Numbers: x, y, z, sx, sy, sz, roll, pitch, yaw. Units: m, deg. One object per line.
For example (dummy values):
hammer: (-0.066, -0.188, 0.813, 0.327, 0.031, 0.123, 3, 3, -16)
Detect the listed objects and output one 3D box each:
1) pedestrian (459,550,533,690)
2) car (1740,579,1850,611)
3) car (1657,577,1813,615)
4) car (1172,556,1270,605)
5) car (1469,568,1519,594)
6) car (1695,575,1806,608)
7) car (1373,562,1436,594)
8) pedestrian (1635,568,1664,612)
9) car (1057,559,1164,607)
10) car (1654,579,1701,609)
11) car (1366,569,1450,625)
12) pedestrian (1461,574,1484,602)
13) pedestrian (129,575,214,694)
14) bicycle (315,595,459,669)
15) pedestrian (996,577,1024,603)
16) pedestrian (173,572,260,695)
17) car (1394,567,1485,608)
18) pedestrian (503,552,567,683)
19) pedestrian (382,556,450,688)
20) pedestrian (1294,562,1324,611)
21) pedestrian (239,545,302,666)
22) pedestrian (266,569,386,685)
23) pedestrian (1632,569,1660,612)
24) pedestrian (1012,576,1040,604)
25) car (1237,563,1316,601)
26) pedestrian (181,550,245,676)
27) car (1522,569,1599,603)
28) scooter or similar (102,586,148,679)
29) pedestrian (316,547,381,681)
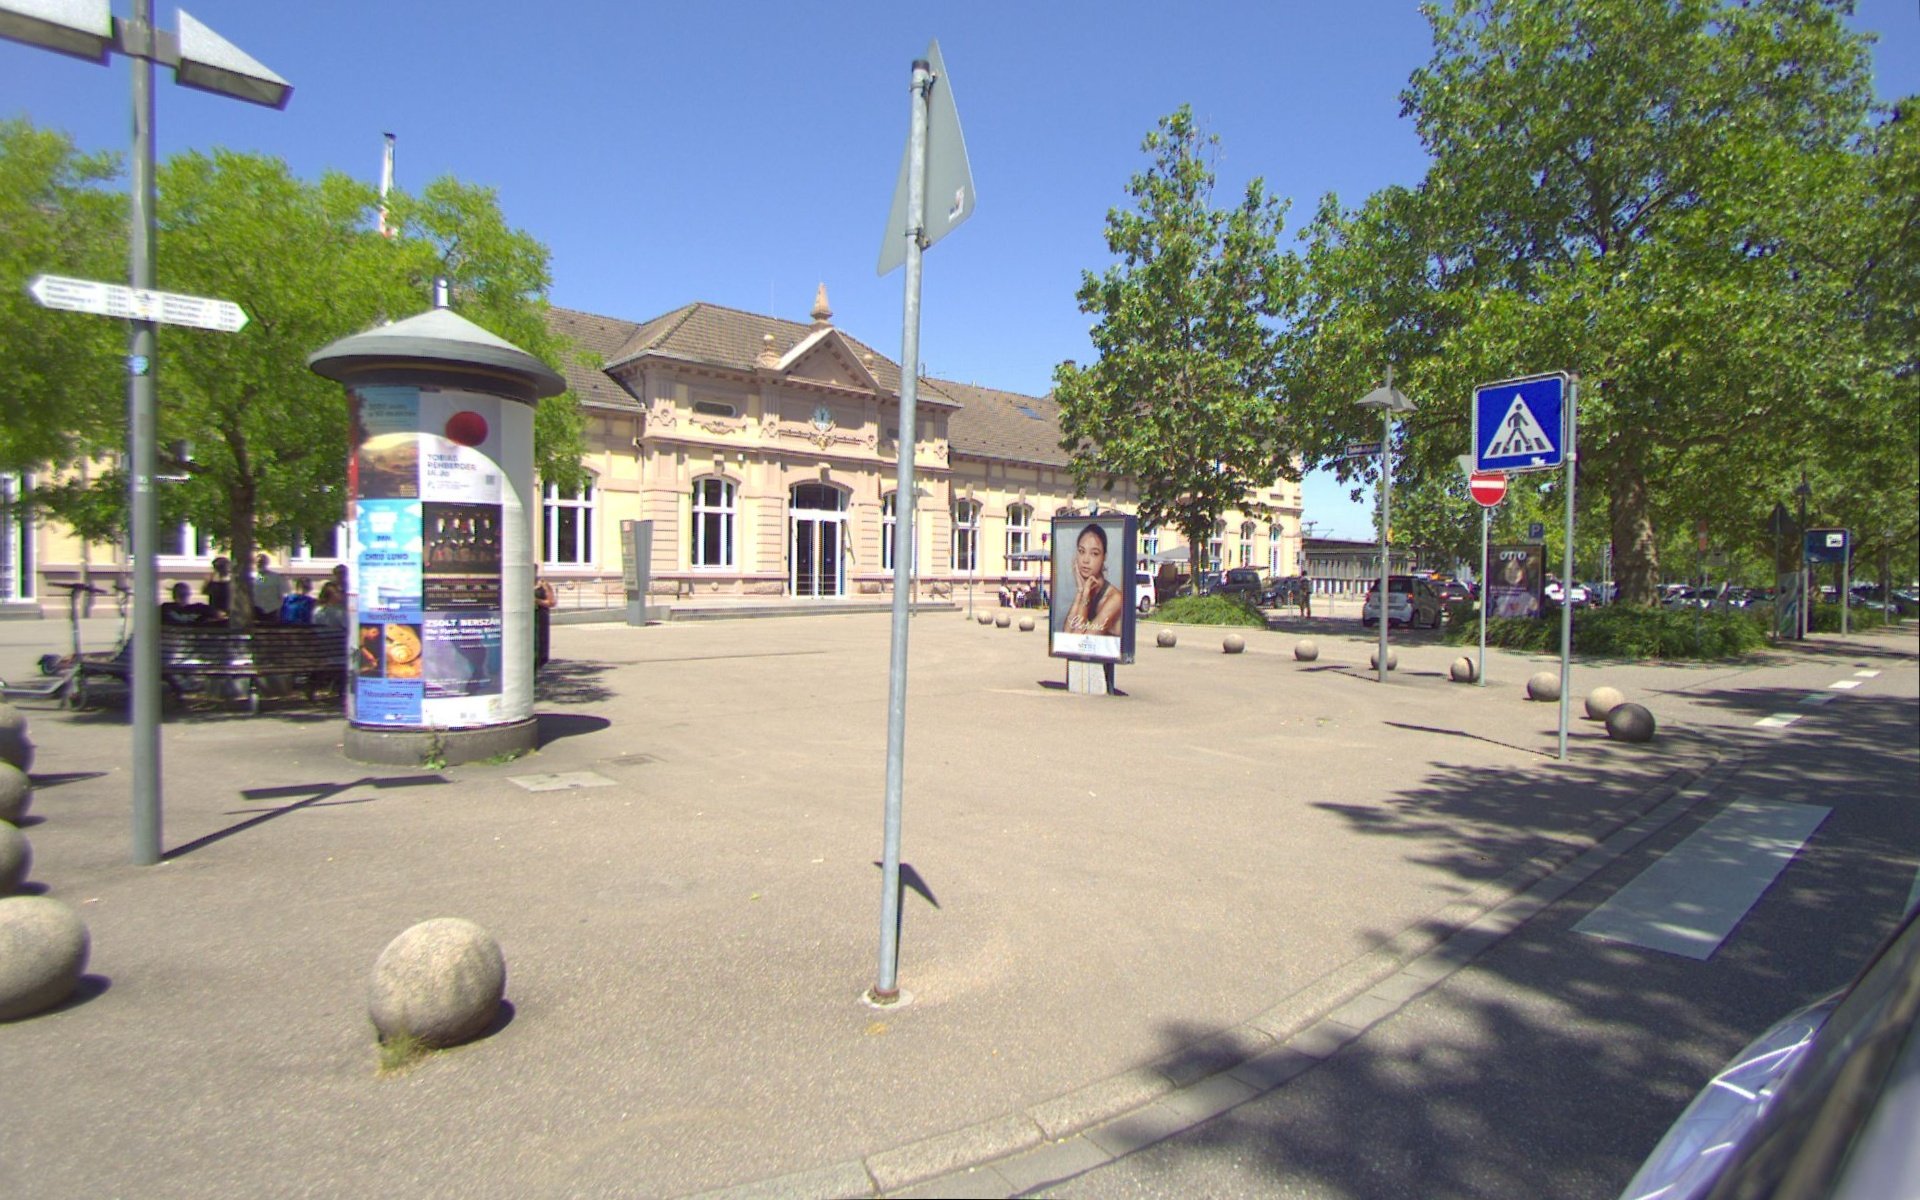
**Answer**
pedestrian: (-6.062, 0.242, 13.240, 0.685, 1.785, 0.581, 1, 1, 22)
car: (41.400, -0.268, 50.245, 3.827, 1.478, 1.626, 1, 1, 20)
car: (31.114, -0.190, 40.842, 4.735, 1.434, 1.769, 1, 2, 29)
car: (12.252, -0.866, 47.236, 2.085, 2.151, 5.737, 0, 0, 42)
car: (40.684, -1.454, 77.100, 4.175, 1.812, 1.996, -2, 0, -42)
car: (37.863, -0.437, 48.558, 3.827, 1.478, 1.626, 1, 1, 20)
car: (27.077, -1.324, 61.556, 1.996, 1.863, 5.238, -1, 0, 42)
pedestrian: (28.198, -0.425, 41.410, 0.831, 1.792, 0.844, 1, 1, 27)
car: (6.371, -0.683, 42.343, 1.810, 1.889, 5.056, 0, 0, 45)
car: (47.333, -0.447, 66.807, 1.720, 1.917, 3.968, 1, 1, 24)
car: (13.760, -0.138, 31.023, 1.594, 1.613, 3.062, 1, 2, 39)
pedestrian: (26.112, -0.614, 51.585, 0.786, 1.442, 0.691, 0, 1, 1)
pedestrian: (-9.523, 0.395, 12.233, 0.592, 1.381, 0.596, 1, 1, 19)
bicycle: (-8.946, 0.471, 15.868, 1.917, 1.073, 0.420, -1, 2, -45)
pedestrian: (2.239, -0.448, 45.133, 0.879, 1.093, 0.838, 4, 3, 43)
pedestrian: (-8.706, 0.373, 11.856, 0.592, 1.381, 0.596, 1, 1, 19)
car: (20.345, -0.569, 43.147, 1.767, 1.561, 4.531, -1, 3, 1)
pedestrian: (-5.846, 0.223, 13.925, 0.620, 1.761, 0.544, 1, 1, 22)
pedestrian: (-7.428, 0.280, 13.827, 0.578, 1.761, 0.595, 1, 1, 22)
pedestrian: (12.522, -0.494, 36.356, 0.759, 1.738, 0.815, 0, 1, 1)
pedestrian: (-10.072, 0.067, 14.790, 0.615, 1.706, 0.583, 1, 1, 35)
pedestrian: (-8.043, 0.316, 12.869, 0.901, 1.403, 0.939, 1, 1, 18)
pedestrian: (28.683, -0.407, 42.318, 0.831, 1.792, 0.843, 1, 1, 29)
pedestrian: (2.906, -0.447, 44.470, 0.879, 1.176, 0.838, 4, 3, 43)
car: (16.196, -0.894, 51.642, 2.073, 1.863, 4.767, 0, 0, 42)
pedestrian: (-10.392, 0.161, 14.079, 0.551, 1.706, 0.580, 1, 1, 35)
car: (32.138, -0.773, 54.293, 1.767, 1.624, 4.063, -1, 3, 2)
scooter or similar: (-10.816, 0.403, 13.103, 1.024, 1.153, 0.290, 1, 2, 41)
pedestrian: (-8.266, 0.178, 13.689, 0.505, 1.761, 0.568, 1, 1, 18)
